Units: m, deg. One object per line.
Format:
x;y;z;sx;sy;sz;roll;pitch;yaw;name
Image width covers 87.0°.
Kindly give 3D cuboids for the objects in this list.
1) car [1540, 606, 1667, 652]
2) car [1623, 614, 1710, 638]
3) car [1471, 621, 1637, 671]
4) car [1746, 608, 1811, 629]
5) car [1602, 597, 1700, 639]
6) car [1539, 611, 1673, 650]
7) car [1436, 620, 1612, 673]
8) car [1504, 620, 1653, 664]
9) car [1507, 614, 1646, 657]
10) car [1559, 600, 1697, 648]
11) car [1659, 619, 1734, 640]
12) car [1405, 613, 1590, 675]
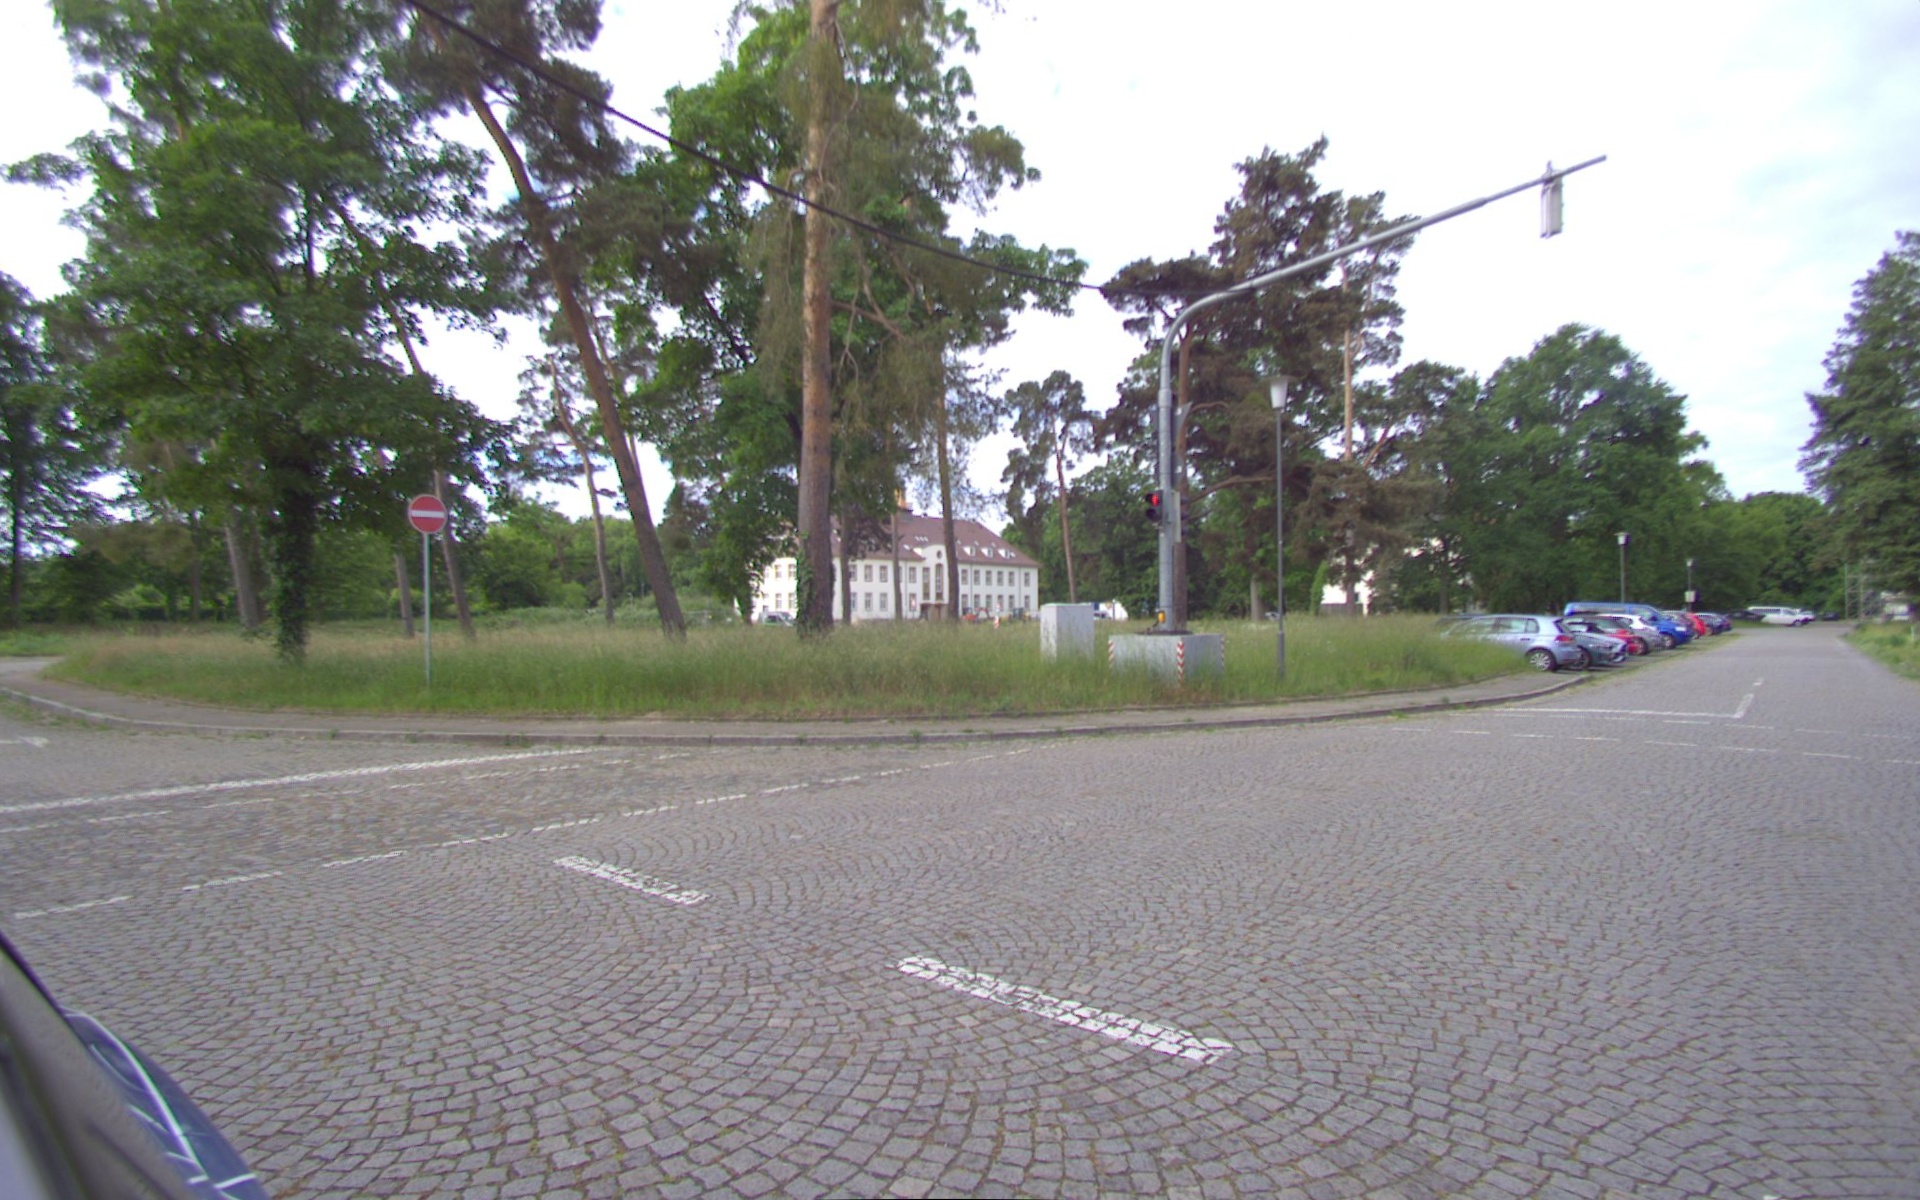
25.601;1.165;40.318;3.999;1.727;1.667;-3;-2;43;car
41.072;1.496;58.877;3.998;1.364;1.667;-1;-1;42;car
17.593;1.315;30.057;3.998;1.364;1.667;-1;-1;42;car
83.515;1.900;103.316;5.159;2.029;1.973;-1;-1;40;car
34.764;0.905;50.947;3.994;2.029;1.847;-1;-1;37;car
24.030;1.115;37.737;3.998;1.364;1.667;-1;-1;42;car
15.625;1.251;28.139;3.998;1.364;1.667;-1;-1;42;car
20.526;1.375;33.687;3.998;1.364;1.667;-1;-1;42;car
21.894;1.240;36.020;3.998;1.449;1.667;-1;-1;42;car
29.085;1.074;44.167;4.791;1.996;1.971;-2;-2;41;car
50.741;2.014;69.769;3.998;1.364;1.667;-1;-1;42;car
13.906;1.091;26.290;3.996;1.483;1.668;-1;-1;40;car
